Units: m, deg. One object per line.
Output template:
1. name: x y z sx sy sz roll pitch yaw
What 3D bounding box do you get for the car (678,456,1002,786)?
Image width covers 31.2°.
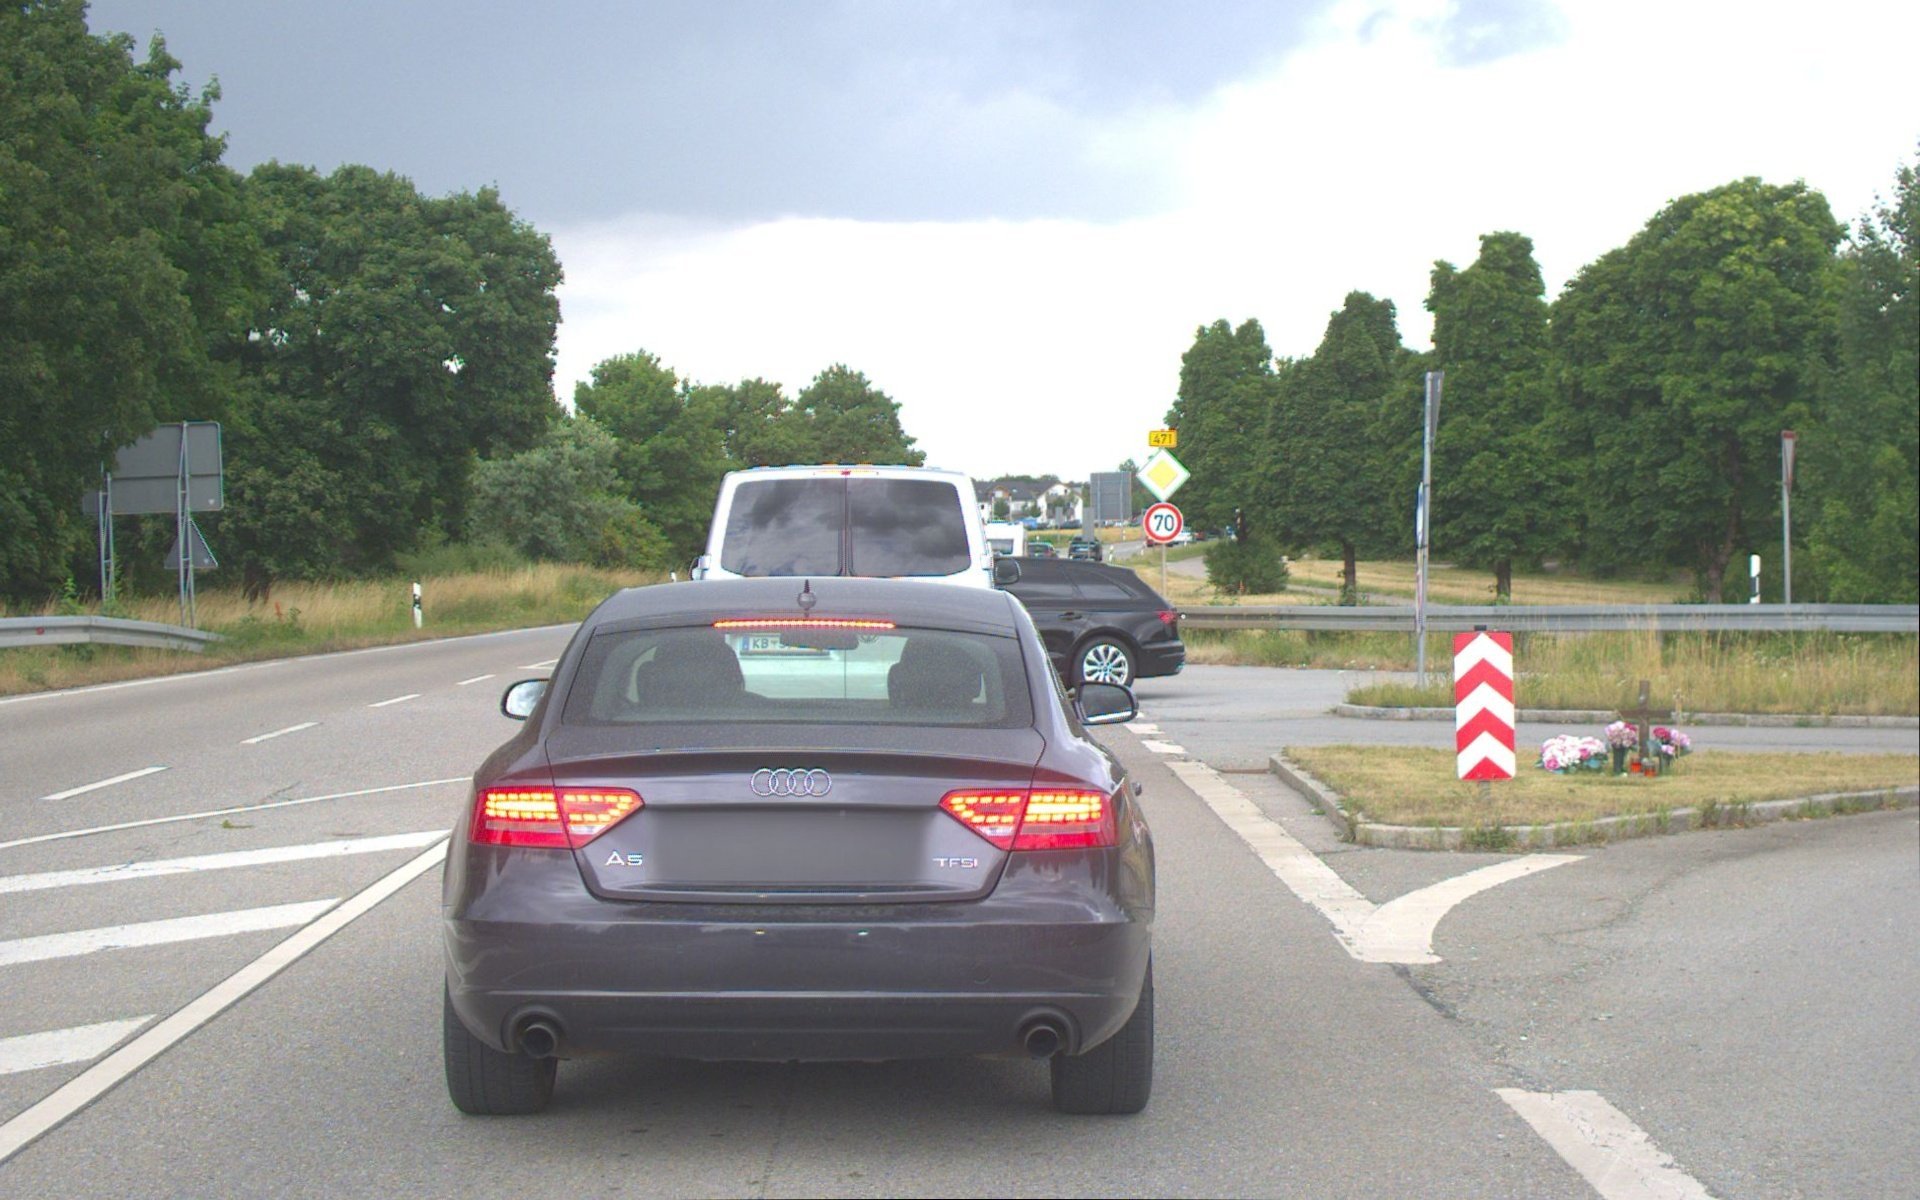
1. car: -0.713 0.080 21.741 1.838 1.876 4.000 1 1 -1

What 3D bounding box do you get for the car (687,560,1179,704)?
1. car: -0.287 0.288 34.350 4.594 1.369 1.827 0 1 -16

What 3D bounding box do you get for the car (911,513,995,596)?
1. car: -0.166 -1.172 88.739 1.994 2.081 4.000 0 1 2

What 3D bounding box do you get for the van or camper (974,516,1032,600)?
1. van or camper: 1.850 -1.785 145.837 2.340 3.469 5.718 0 1 2

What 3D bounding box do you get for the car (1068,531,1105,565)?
1. car: 7.578 -3.151 206.386 1.993 2.007 4.000 0 1 -1

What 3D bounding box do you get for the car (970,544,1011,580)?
1. car: 1.152 -1.432 129.690 1.258 1.349 3.465 0 1 5

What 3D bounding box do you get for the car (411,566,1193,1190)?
1. car: -0.387 0.621 9.906 1.783 1.372 4.000 1 1 -1

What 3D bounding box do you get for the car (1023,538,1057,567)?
1. car: 4.158 -2.462 178.726 1.719 1.446 4.000 1 1 1
